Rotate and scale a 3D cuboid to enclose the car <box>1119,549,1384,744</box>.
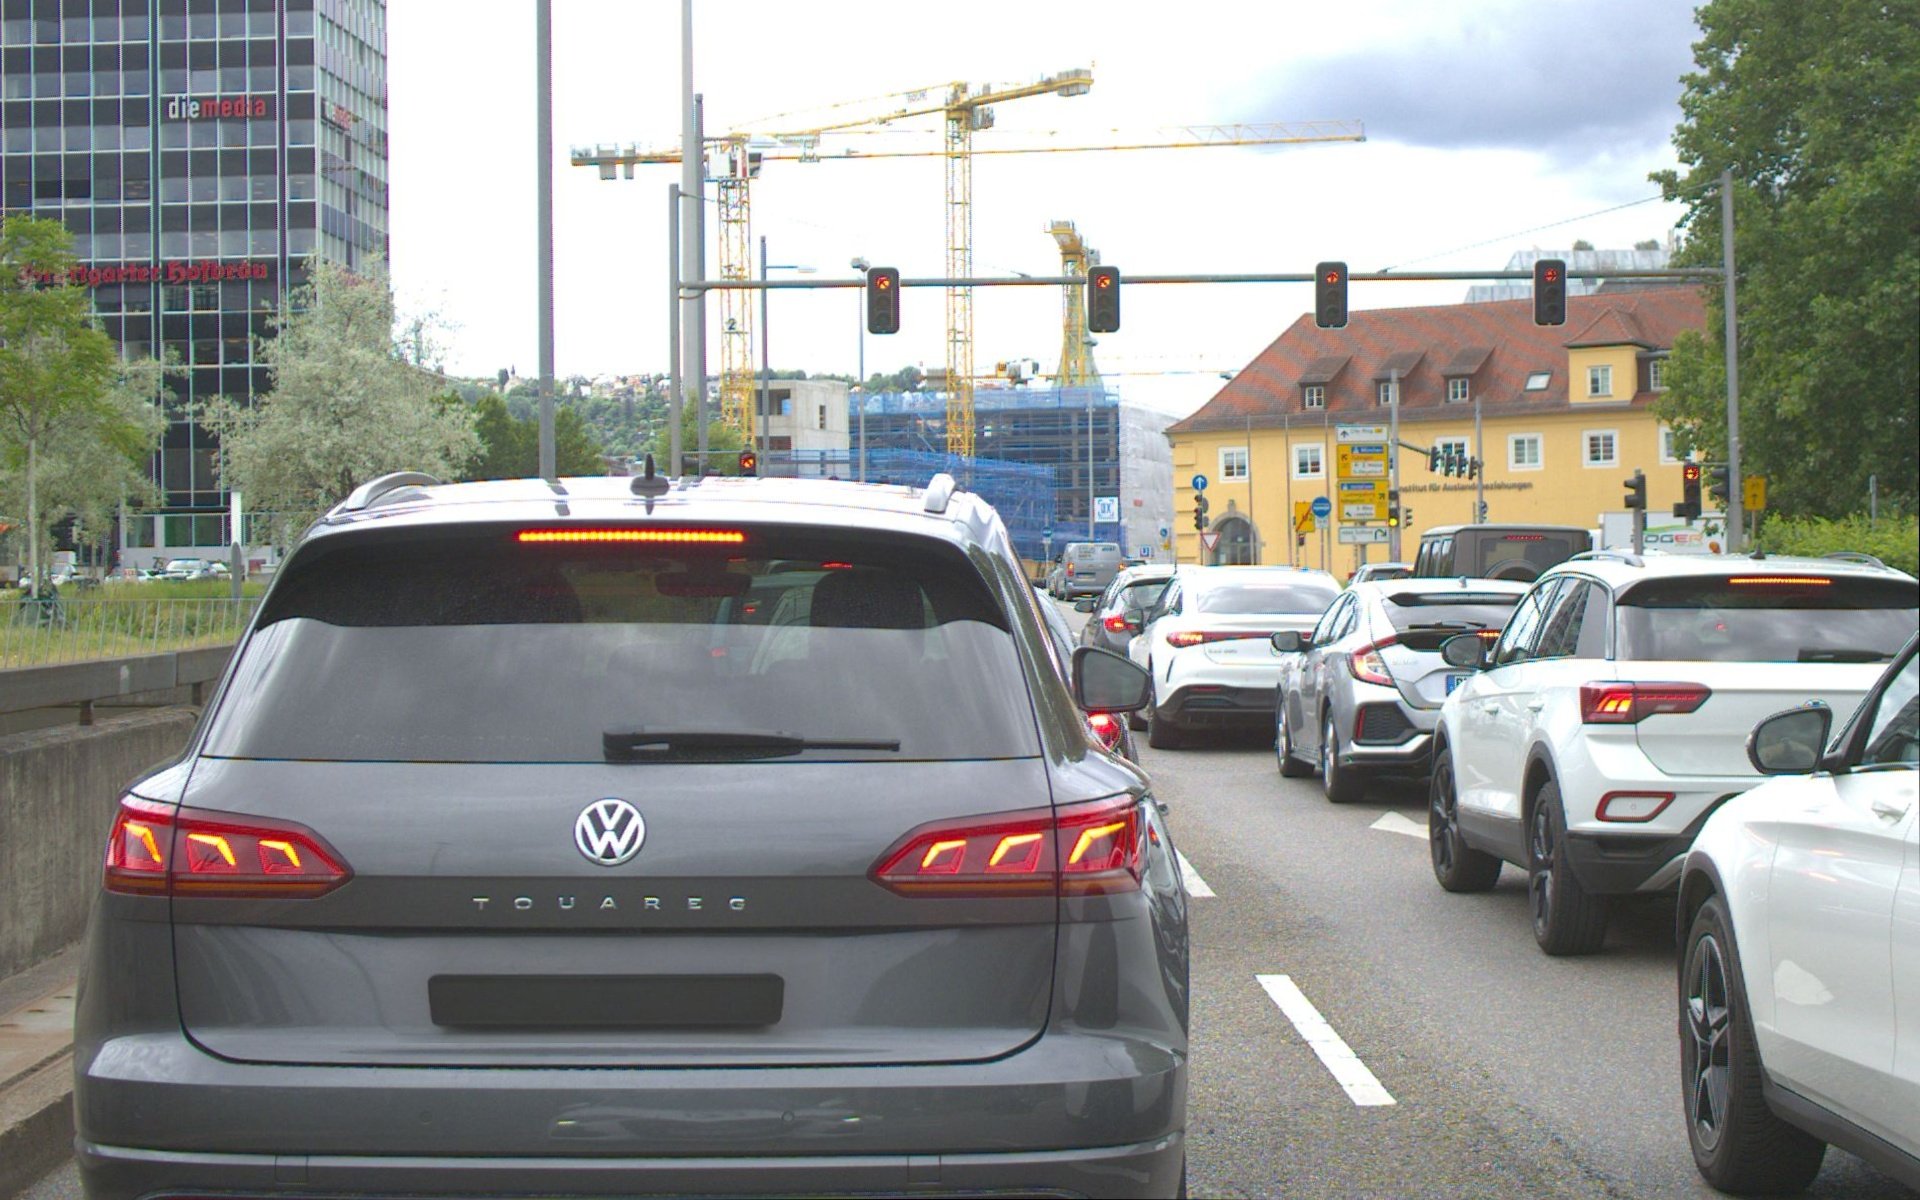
[{"bbox_3d":[2.413,0.367,29.491,1.926,1.524,4.489,1,0,1],"label":"car"}]

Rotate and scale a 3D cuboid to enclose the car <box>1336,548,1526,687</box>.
[{"bbox_3d":[6.146,0.213,45.267,1.910,1.691,4.012,2,0,0],"label":"car"}]

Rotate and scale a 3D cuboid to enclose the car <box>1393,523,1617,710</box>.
[{"bbox_3d":[6.246,0.176,39.800,1.910,2.007,4.012,2,0,0],"label":"car"}]

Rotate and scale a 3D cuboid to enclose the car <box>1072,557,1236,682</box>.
[{"bbox_3d":[2.474,0.240,44.600,1.926,1.524,4.047,1,0,1],"label":"car"}]

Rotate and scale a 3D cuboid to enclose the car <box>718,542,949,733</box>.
[{"bbox_3d":[-1.126,0.299,31.671,1.951,1.594,3.931,2,1,-1],"label":"car"}]

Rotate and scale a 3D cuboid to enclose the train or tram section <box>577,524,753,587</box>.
[{"bbox_3d":[-15.115,-2.281,176.037,8.935,2.999,2.592,1,-1,28],"label":"train or tram section"}]

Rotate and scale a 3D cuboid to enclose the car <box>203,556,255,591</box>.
[{"bbox_3d":[-33.728,-1.218,158.700,1.732,1.489,3.595,2,-1,-3],"label":"car"}]

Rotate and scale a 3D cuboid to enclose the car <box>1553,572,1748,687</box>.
[{"bbox_3d":[9.257,0.380,46.363,1.757,1.442,3.634,2,0,-2],"label":"car"}]

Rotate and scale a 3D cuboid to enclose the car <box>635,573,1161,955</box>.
[{"bbox_3d":[-0.266,0.605,14.967,1.951,1.379,3.931,2,1,-1],"label":"car"}]

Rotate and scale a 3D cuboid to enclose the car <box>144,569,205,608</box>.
[{"bbox_3d":[-31.581,-0.448,138.327,1.732,1.489,3.595,2,-1,-3],"label":"car"}]

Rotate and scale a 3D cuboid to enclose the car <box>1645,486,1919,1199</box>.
[{"bbox_3d":[2.730,0.610,6.681,1.926,1.648,4.490,0,2,1],"label":"car"}]

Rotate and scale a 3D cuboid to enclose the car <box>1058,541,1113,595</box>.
[{"bbox_3d":[4.061,-1.027,112.075,1.619,1.622,4.000,2,-1,0],"label":"car"}]

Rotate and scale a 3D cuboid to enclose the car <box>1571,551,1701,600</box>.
[{"bbox_3d":[23.894,-0.877,121.561,4.108,1.605,1.826,1,-1,35],"label":"car"}]

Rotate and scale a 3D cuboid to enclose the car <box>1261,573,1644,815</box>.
[{"bbox_3d":[3.134,0.557,22.768,1.926,1.427,4.489,1,0,1],"label":"car"}]

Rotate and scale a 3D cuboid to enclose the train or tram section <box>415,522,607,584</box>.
[{"bbox_3d":[-23.633,-2.479,180.605,10.412,2.999,2.592,1,-1,29],"label":"train or tram section"}]

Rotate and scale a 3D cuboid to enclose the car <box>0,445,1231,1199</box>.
[{"bbox_3d":[-0.596,0.568,7.295,1.951,1.646,4.000,0,1,-1],"label":"car"}]

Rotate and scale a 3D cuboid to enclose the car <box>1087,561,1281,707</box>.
[{"bbox_3d":[2.442,0.357,38.312,1.926,1.524,4.047,1,0,1],"label":"car"}]

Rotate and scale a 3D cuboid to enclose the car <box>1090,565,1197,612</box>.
[{"bbox_3d":[8.203,-0.506,153.899,4.454,2.007,1.699,1,-1,34],"label":"car"}]

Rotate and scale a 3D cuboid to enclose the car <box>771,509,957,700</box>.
[{"bbox_3d":[-1.068,0.031,39.145,1.951,2.011,3.931,2,1,-1],"label":"car"}]

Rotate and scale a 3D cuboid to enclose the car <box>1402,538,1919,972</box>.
[{"bbox_3d":[3.112,0.557,14.603,1.926,1.545,4.489,1,0,1],"label":"car"}]
